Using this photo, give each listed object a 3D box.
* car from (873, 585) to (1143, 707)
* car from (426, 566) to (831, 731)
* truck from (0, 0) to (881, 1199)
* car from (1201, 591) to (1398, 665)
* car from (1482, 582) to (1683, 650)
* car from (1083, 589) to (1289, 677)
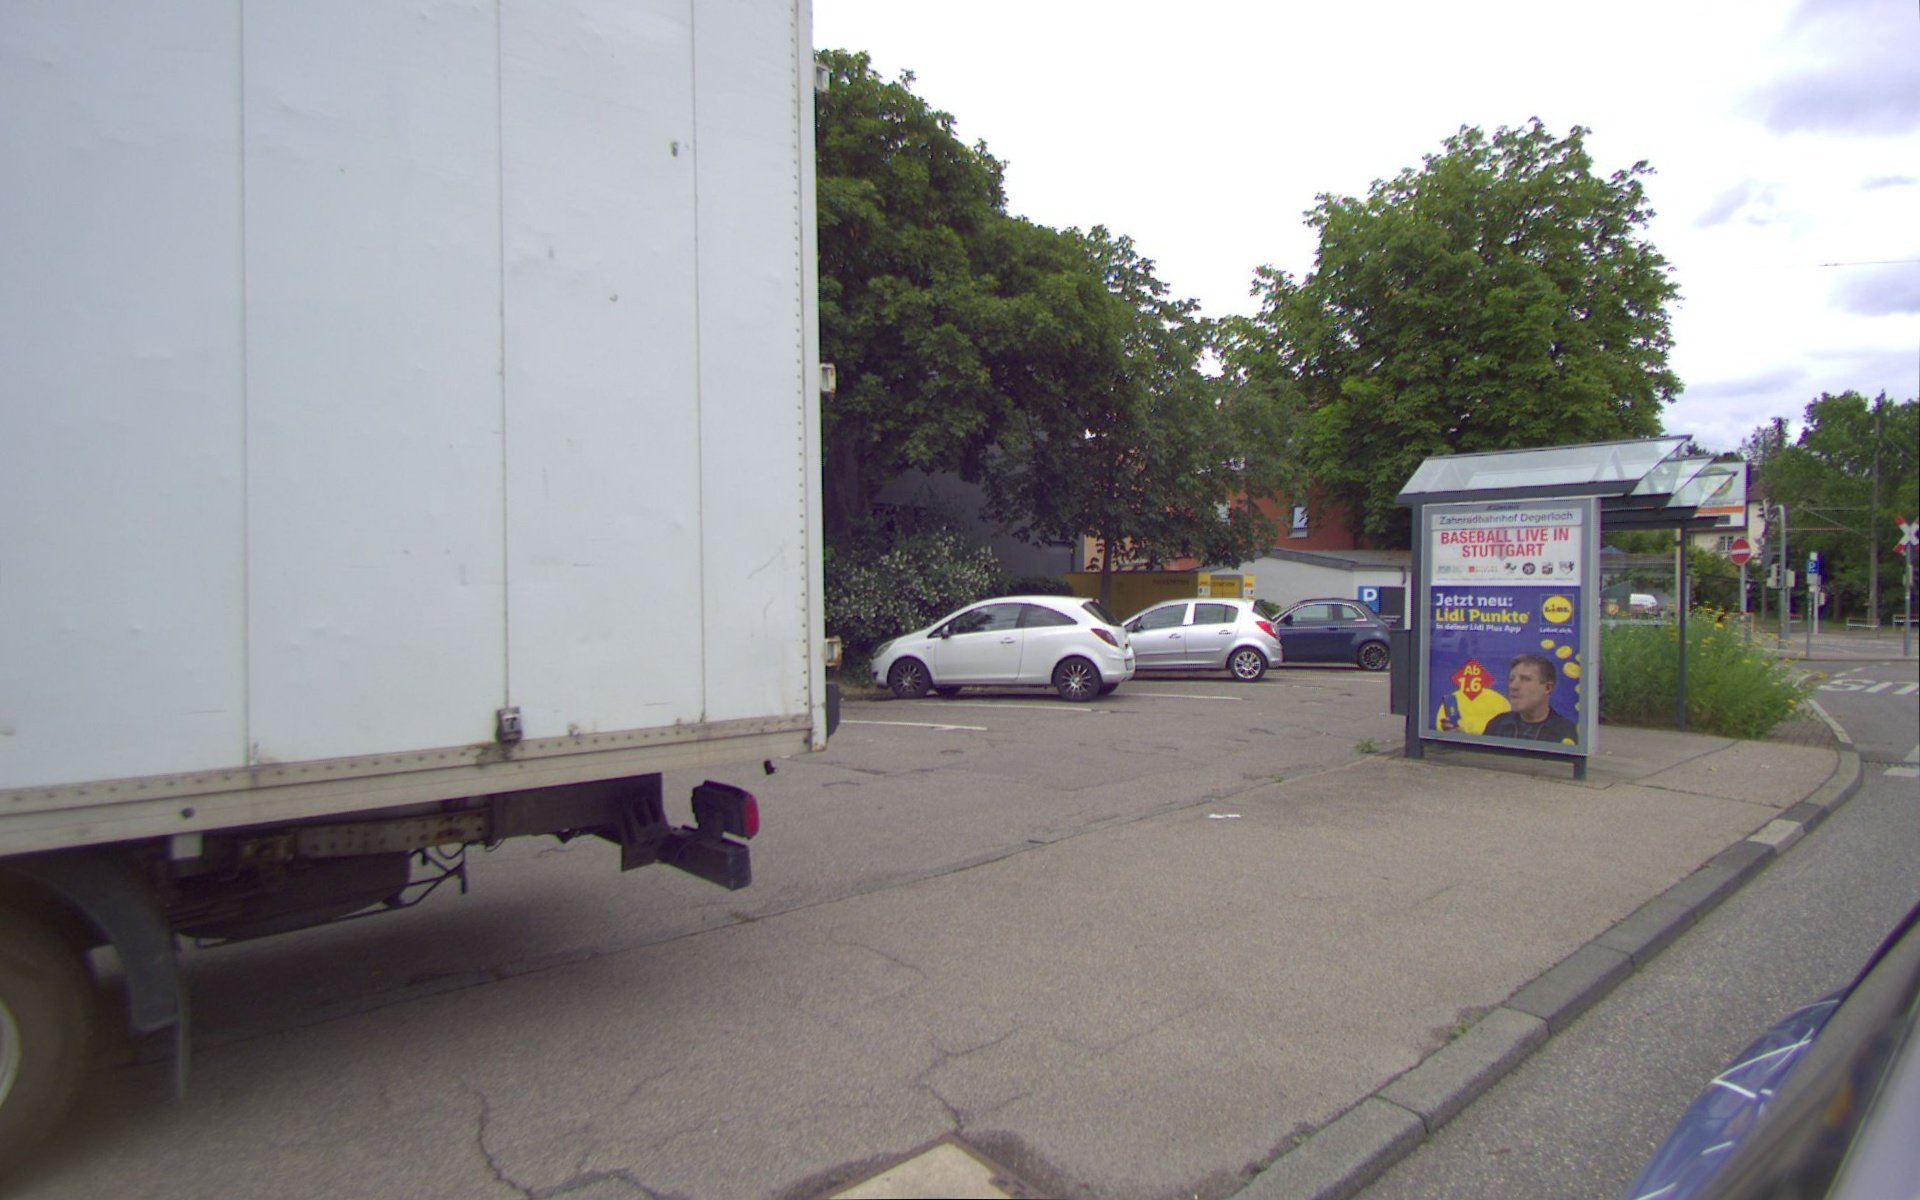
[{"bbox_3d":[0.704,0.587,14.712,3.608,1.452,1.580,2,3,22],"label":"car"},{"bbox_3d":[-3.438,0.417,10.634,3.754,1.492,1.787,1,0,19],"label":"car"},{"bbox_3d":[-4.024,-0.474,1.921,7.672,3.569,2.578,0,0,-41],"label":"truck"},{"bbox_3d":[7.393,0.570,22.347,3.945,1.496,1.870,1,0,17],"label":"car"},{"bbox_3d":[17.625,0.430,28.780,4.602,1.770,1.853,1,0,-4],"label":"car"},{"bbox_3d":[4.083,0.566,18.240,3.470,1.395,1.538,2,-1,18],"label":"car"}]
